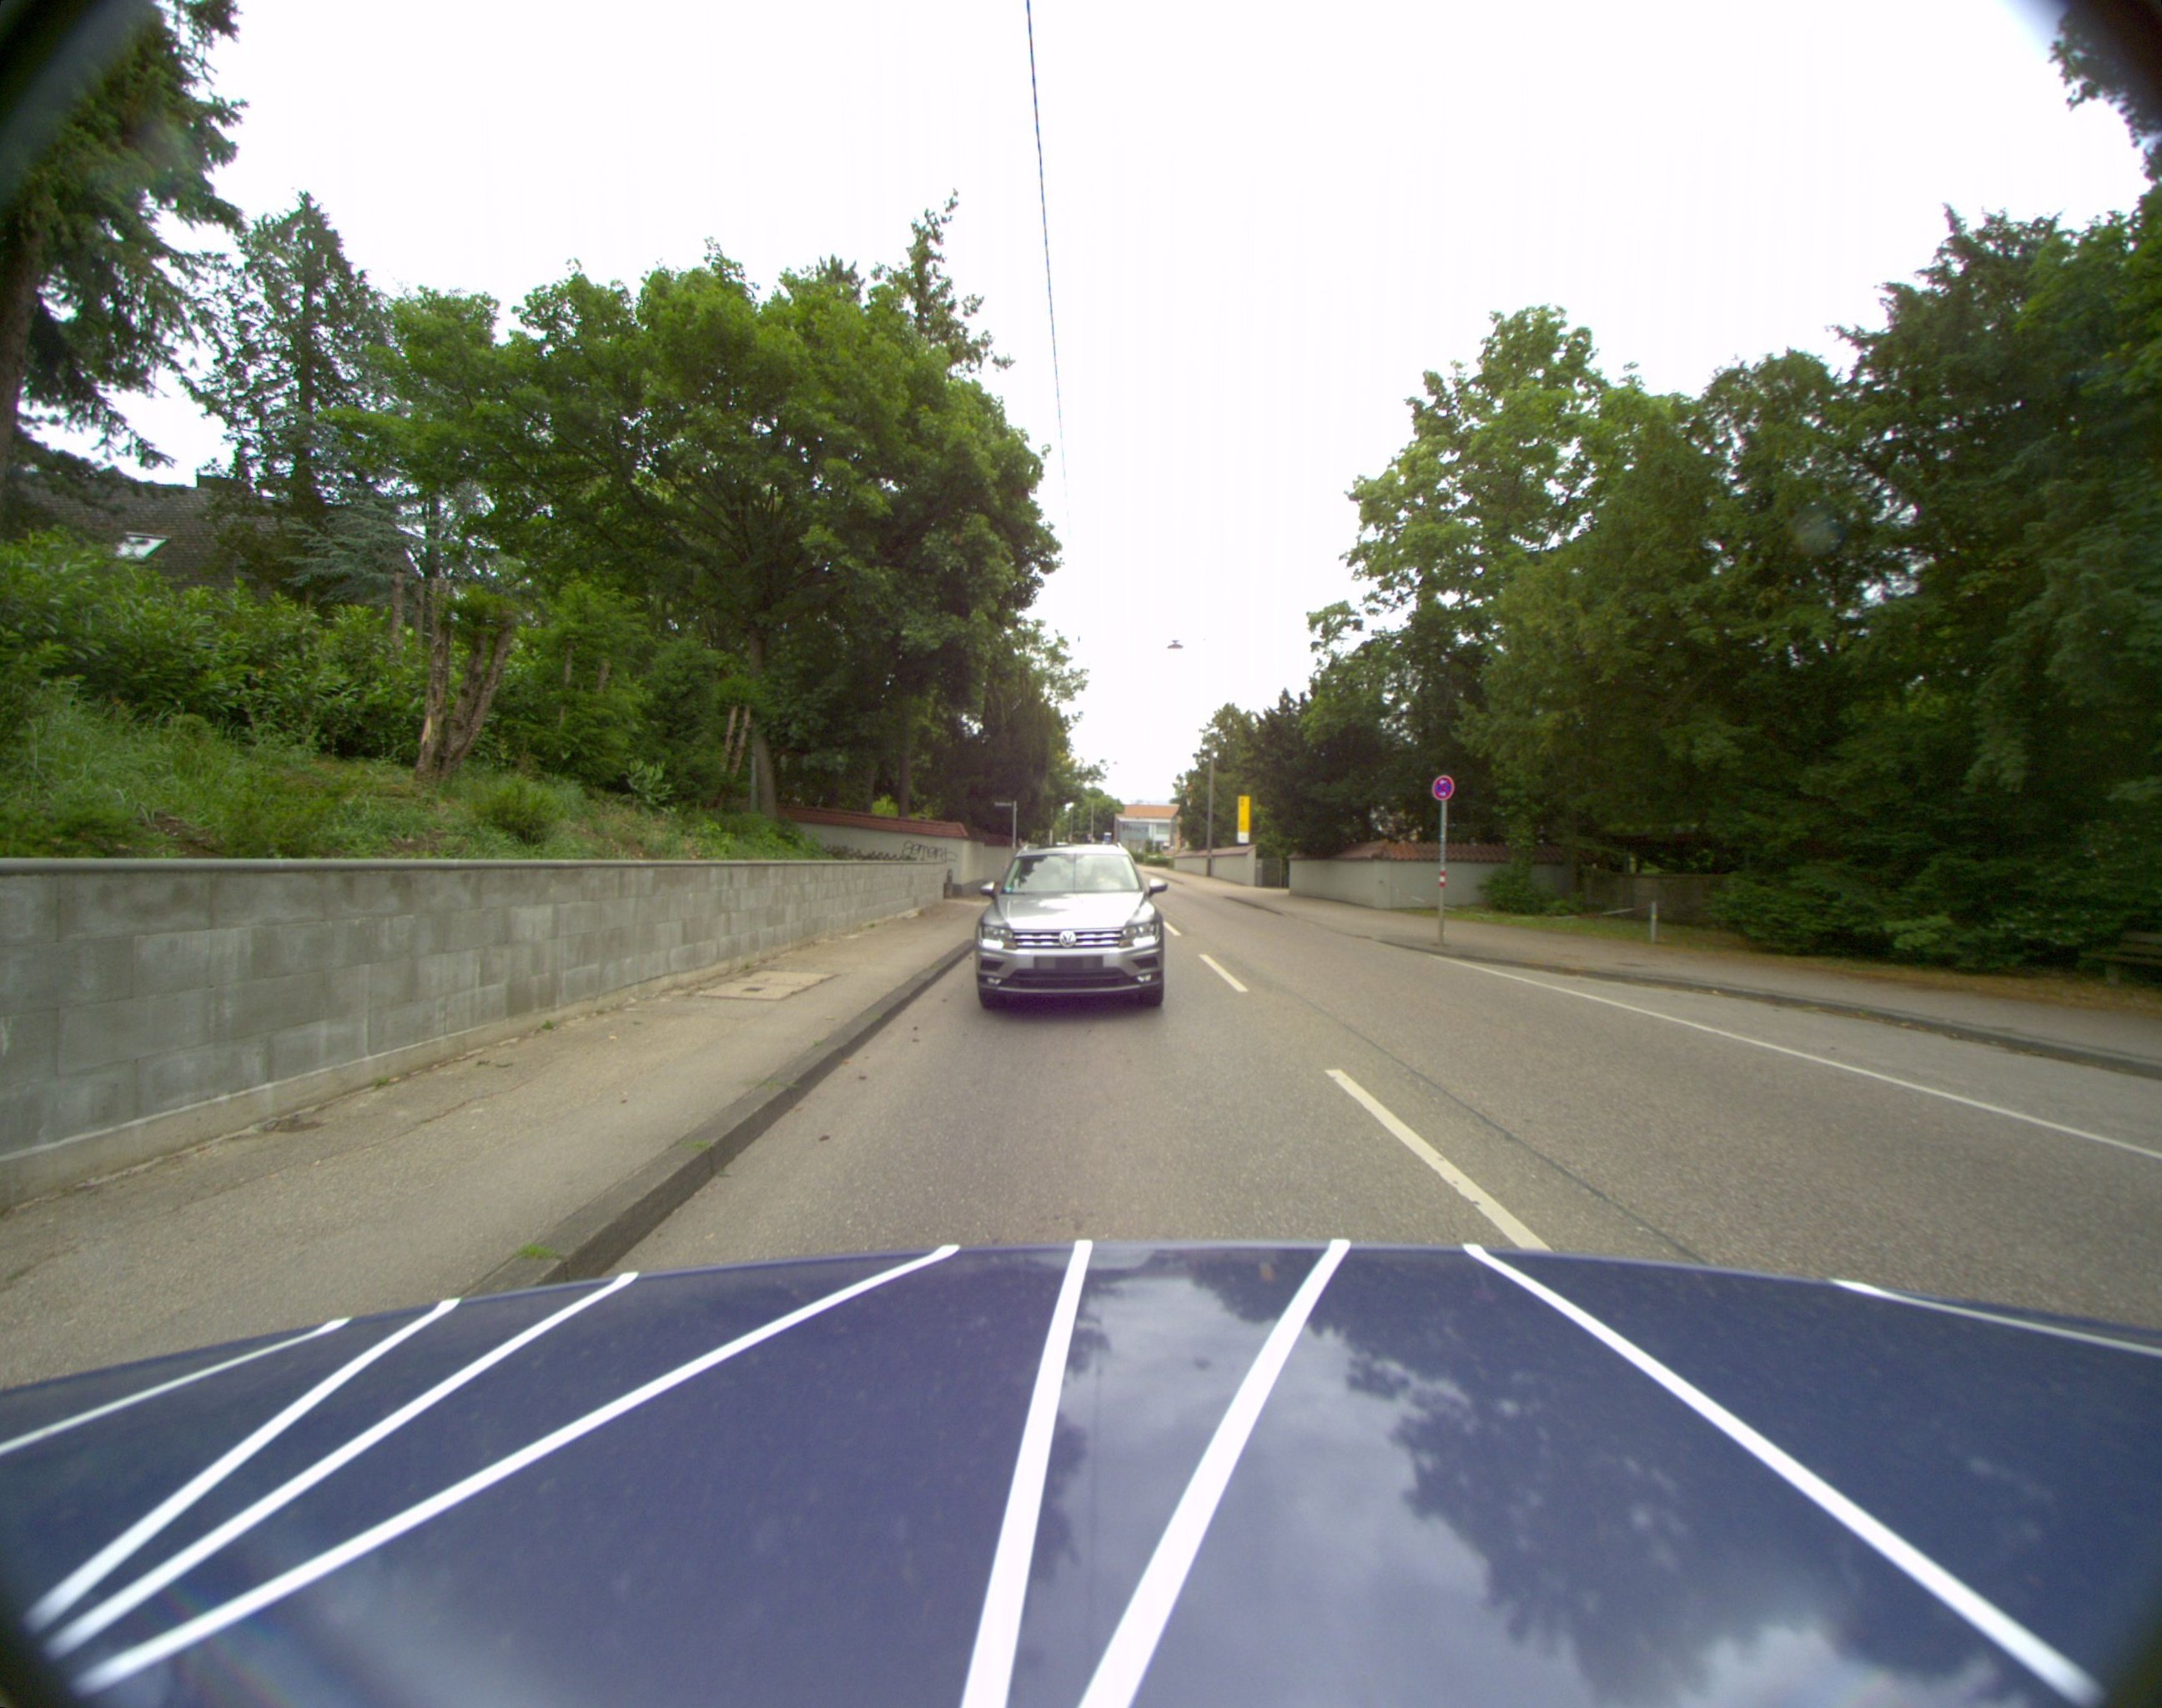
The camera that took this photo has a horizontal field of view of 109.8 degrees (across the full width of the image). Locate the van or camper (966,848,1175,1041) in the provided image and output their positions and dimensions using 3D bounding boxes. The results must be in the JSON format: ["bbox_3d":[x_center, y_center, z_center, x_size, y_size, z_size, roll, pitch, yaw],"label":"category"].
[{"bbox_3d":[-0.065,0.773,8.667,1.800,1.663,4.198,0,0,1],"label":"van or camper"}]
